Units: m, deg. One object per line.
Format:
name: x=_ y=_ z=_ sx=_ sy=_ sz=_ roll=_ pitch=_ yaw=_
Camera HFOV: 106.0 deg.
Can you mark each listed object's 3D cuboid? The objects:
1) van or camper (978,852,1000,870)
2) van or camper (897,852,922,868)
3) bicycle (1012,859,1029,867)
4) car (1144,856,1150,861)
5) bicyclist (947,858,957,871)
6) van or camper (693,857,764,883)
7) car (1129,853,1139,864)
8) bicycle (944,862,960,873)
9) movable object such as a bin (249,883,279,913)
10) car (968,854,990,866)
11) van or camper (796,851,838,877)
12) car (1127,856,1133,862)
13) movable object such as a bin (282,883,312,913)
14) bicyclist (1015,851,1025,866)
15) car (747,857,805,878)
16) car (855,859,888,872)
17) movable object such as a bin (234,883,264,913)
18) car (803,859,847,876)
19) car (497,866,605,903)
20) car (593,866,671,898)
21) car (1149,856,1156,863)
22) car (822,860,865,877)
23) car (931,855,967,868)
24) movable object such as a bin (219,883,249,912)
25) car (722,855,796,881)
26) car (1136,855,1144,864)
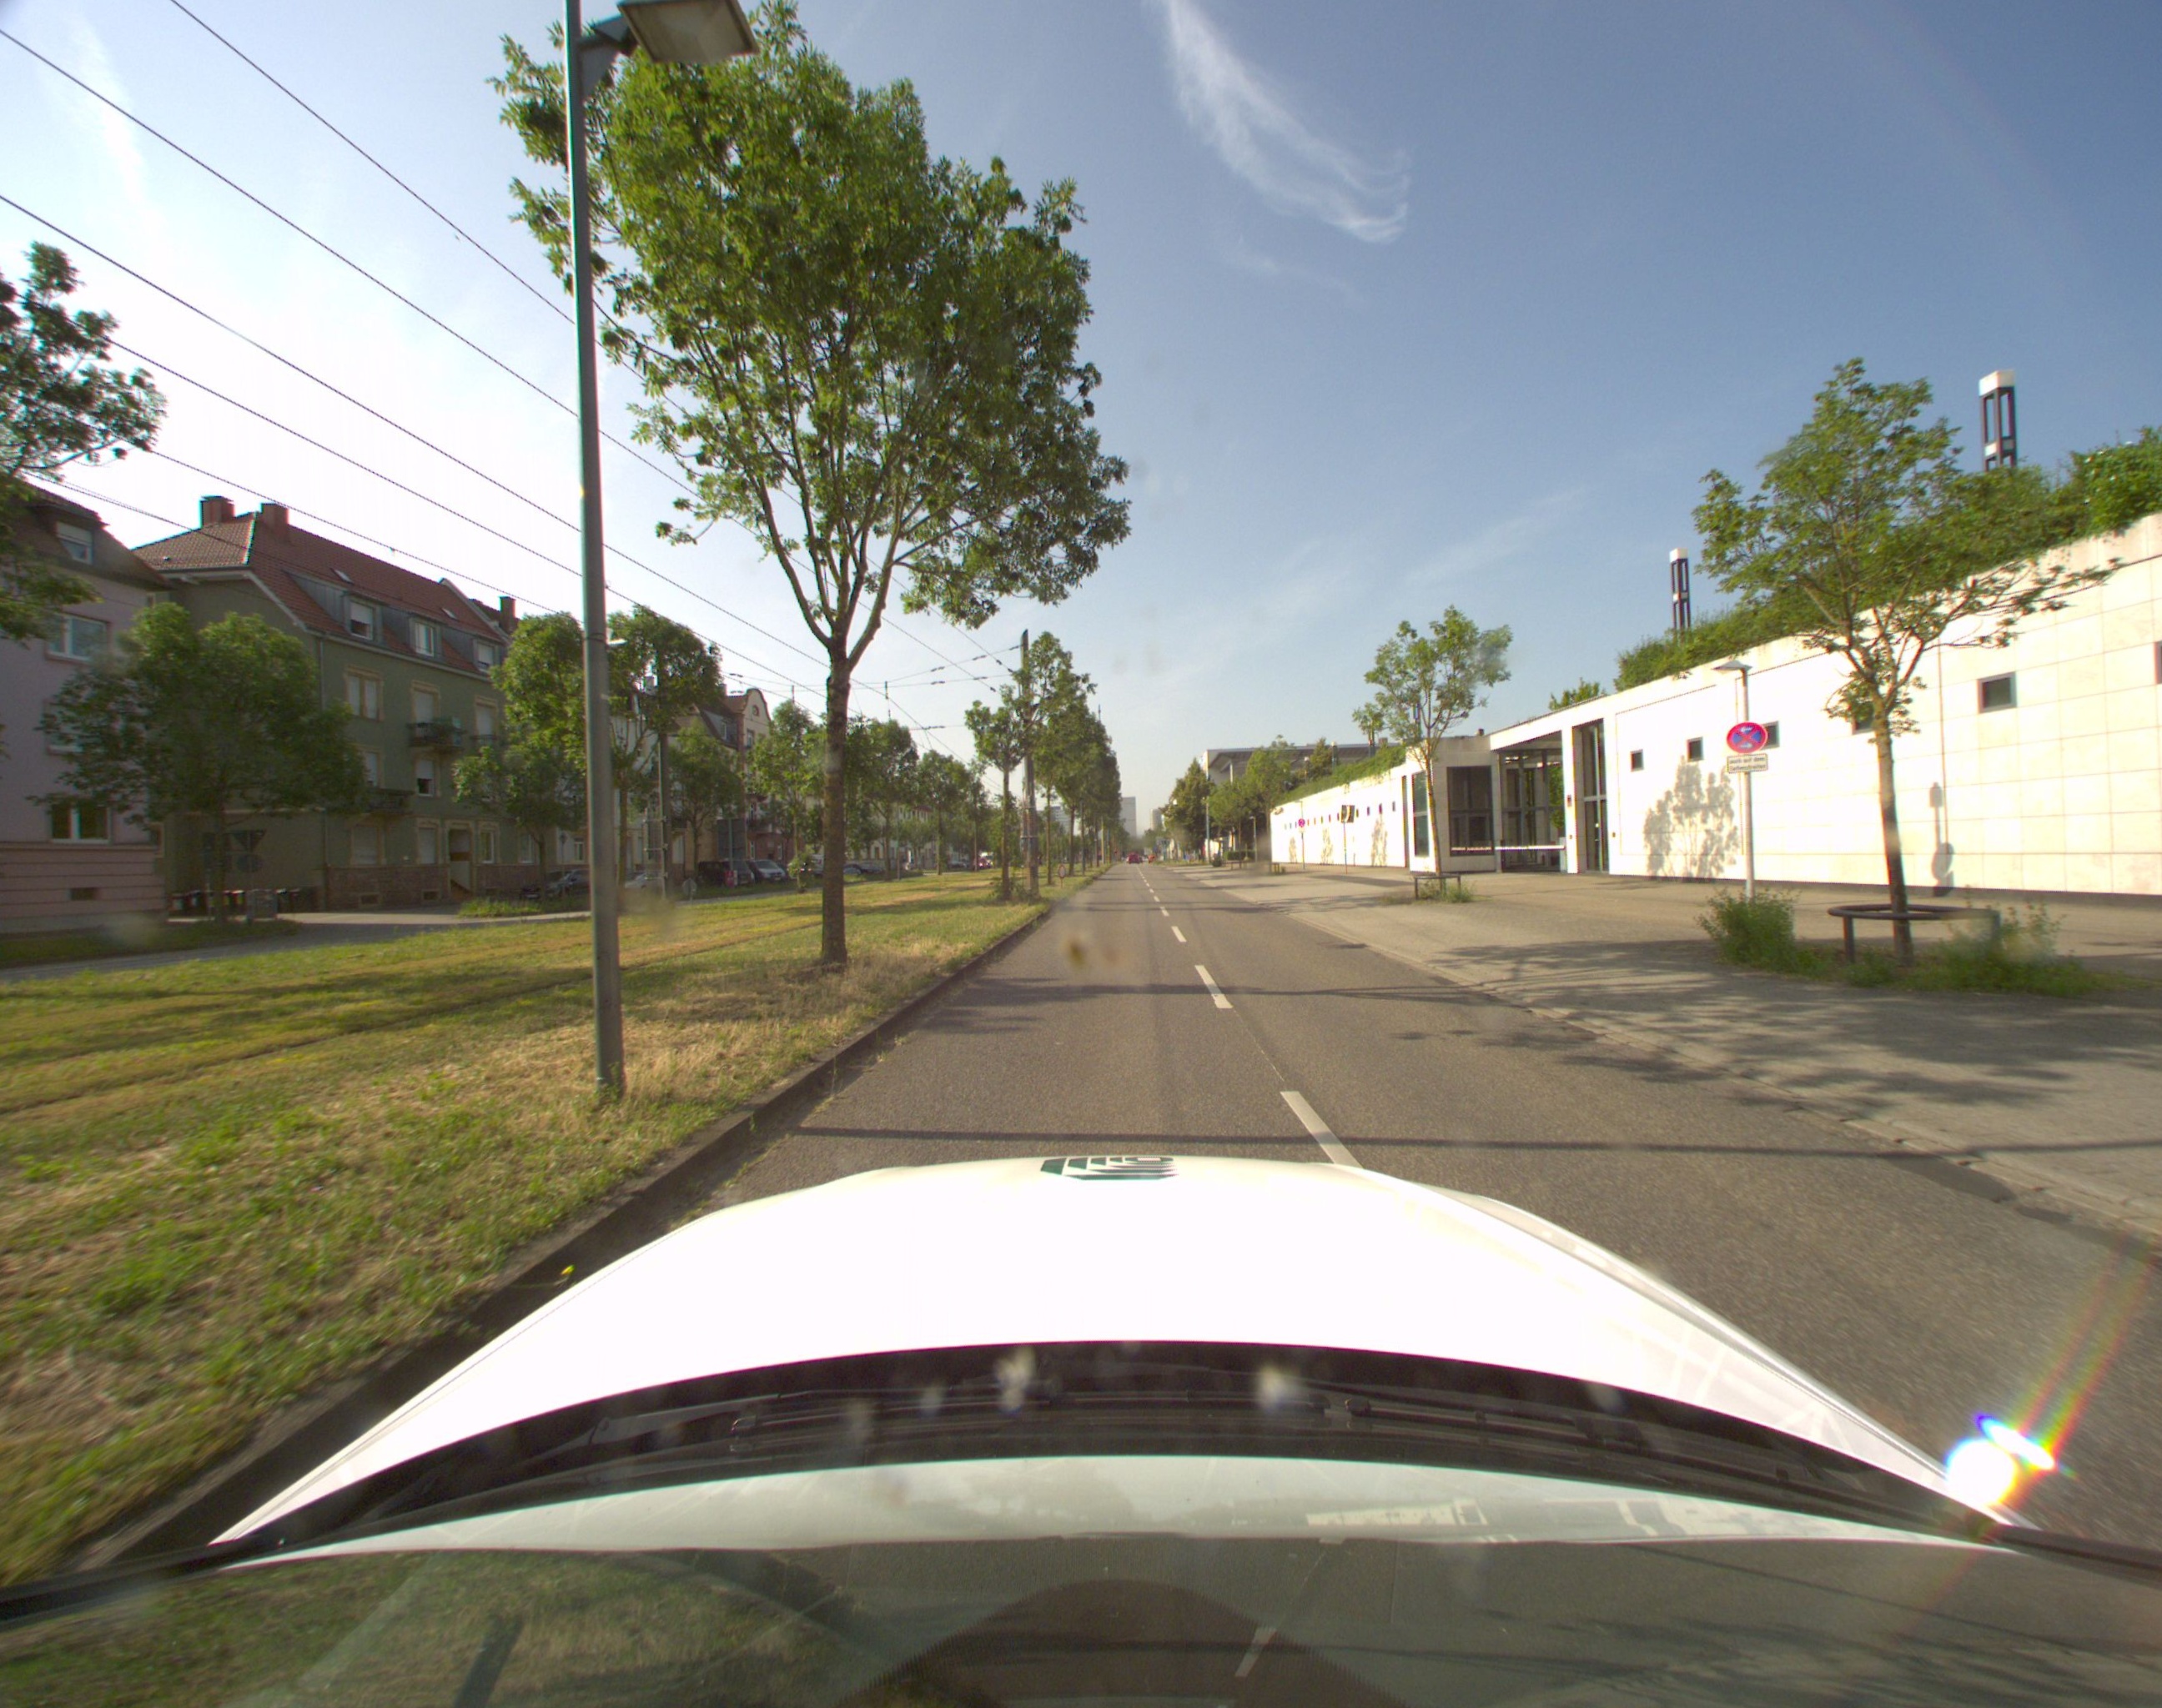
van or camper: x=-13.331 y=0.984 z=118.699 sx=2.194 sy=2.531 sz=6.034 roll=0 pitch=0 yaw=3
van or camper: x=-25.791 y=0.933 z=122.408 sx=1.984 sy=2.328 sz=5.836 roll=0 pitch=0 yaw=5
bicycle: x=-7.722 y=1.147 z=104.071 sx=2.060 sy=1.042 sz=0.668 roll=0 pitch=-1 yaw=-1
car: x=19.766 y=1.375 z=244.155 sx=1.740 sy=1.650 sz=3.219 roll=0 pitch=0 yaw=4
bicyclist: x=-16.408 y=1.333 z=103.451 sx=1.146 sy=1.762 sz=0.684 roll=1 pitch=-1 yaw=-8
van or camper: x=-22.990 y=0.996 z=53.030 sx=4.788 sy=1.623 sz=2.015 roll=0 pitch=-1 yaw=36
car: x=9.802 y=0.815 z=151.076 sx=1.740 sy=2.014 sz=3.219 roll=0 pitch=0 yaw=4
bicycle: x=-16.398 y=1.681 z=103.469 sx=2.065 sy=1.324 sz=0.782 roll=1 pitch=-1 yaw=-8
movable object such as a bin: x=-34.505 y=1.853 z=34.395 sx=0.583 sy=1.211 sz=0.640 roll=0 pitch=-1 yaw=2
car: x=-13.940 y=0.818 z=111.771 sx=1.954 sy=1.694 sz=4.305 roll=0 pitch=0 yaw=7
van or camper: x=-27.474 y=1.038 z=85.123 sx=2.031 sy=2.567 sz=6.361 roll=0 pitch=0 yaw=3
car: x=14.881 y=1.544 z=245.313 sx=1.740 sy=1.650 sz=3.219 roll=0 pitch=0 yaw=4
movable object such as a bin: x=-33.143 y=1.865 z=34.430 sx=0.583 sy=1.211 sz=0.640 roll=0 pitch=-1 yaw=2
bicyclist: x=-7.799 y=0.530 z=104.050 sx=1.142 sy=1.934 sz=0.687 roll=0 pitch=-1 yaw=4
car: x=-21.846 y=0.938 z=58.260 sx=4.419 sy=1.419 sz=1.987 roll=0 pitch=-1 yaw=40
car: x=-20.288 y=1.095 z=78.831 sx=3.124 sy=1.161 sz=1.506 roll=0 pitch=-1 yaw=35
movable object such as a bin: x=-35.169 y=1.848 z=34.425 sx=0.583 sy=1.211 sz=0.640 roll=0 pitch=-1 yaw=2
car: x=-21.845 y=1.110 z=69.349 sx=3.948 sy=1.417 sz=1.587 roll=0 pitch=-1 yaw=38
car: x=-25.488 y=1.420 z=39.423 sx=1.986 sy=1.628 sz=4.777 roll=0 pitch=0 yaw=2
car: x=-25.030 y=1.507 z=45.582 sx=1.882 sy=1.628 sz=4.158 roll=0 pitch=0 yaw=2
car: x=16.660 y=1.249 z=190.194 sx=1.740 sy=1.650 sz=3.219 roll=0 pitch=0 yaw=4
car: x=-20.862 y=1.246 z=71.461 sx=3.948 sy=1.417 sz=1.587 roll=0 pitch=-1 yaw=36
car: x=-19.034 y=1.057 z=117.461 sx=5.258 sy=1.738 sz=2.013 roll=0 pitch=-1 yaw=37
movable object such as a bin: x=-35.815 y=1.843 z=34.439 sx=0.583 sy=1.211 sz=0.640 roll=0 pitch=-1 yaw=2
car: x=-21.954 y=0.931 z=55.504 sx=5.155 sy=1.623 sz=2.070 roll=0 pitch=-1 yaw=33
car: x=13.926 y=1.227 z=191.876 sx=1.740 sy=2.014 sz=3.219 roll=0 pitch=0 yaw=4
